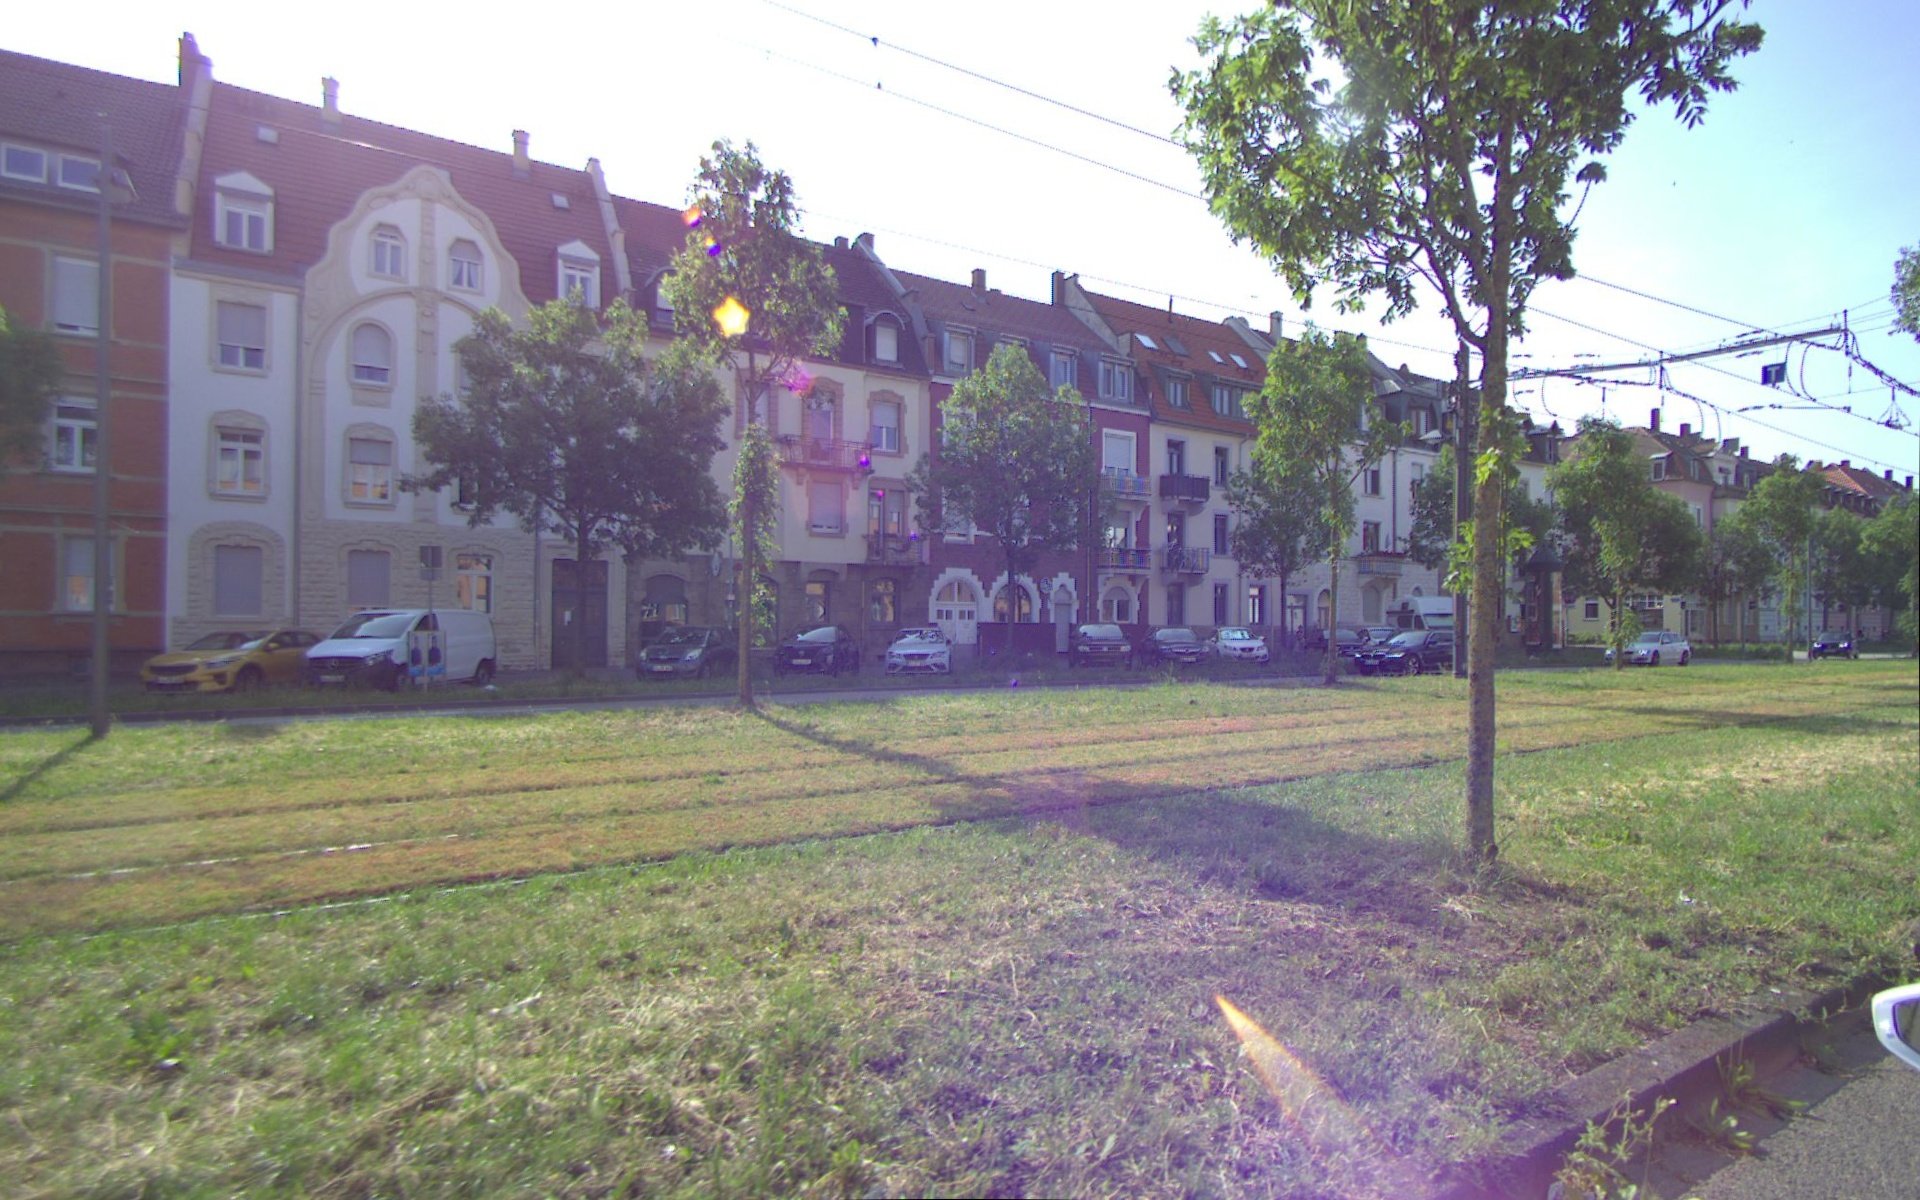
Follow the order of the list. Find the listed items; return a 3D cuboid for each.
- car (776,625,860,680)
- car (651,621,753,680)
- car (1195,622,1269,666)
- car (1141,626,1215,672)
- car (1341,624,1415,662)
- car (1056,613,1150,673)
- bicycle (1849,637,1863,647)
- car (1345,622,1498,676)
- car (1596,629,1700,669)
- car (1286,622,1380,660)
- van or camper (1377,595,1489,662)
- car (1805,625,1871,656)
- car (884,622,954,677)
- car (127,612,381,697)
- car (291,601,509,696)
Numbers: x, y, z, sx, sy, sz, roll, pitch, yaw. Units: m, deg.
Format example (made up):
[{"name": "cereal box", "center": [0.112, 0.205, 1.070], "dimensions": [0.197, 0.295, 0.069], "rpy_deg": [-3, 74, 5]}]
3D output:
[{"name": "car", "center": [-3.739, 1.365, 27.044], "dimensions": [1.629, 1.258, 3.687], "rpy_deg": [-1, 0, 2]}, {"name": "car", "center": [-6.343, 1.202, 25.071], "dimensions": [1.495, 1.258, 3.687], "rpy_deg": [0, 0, 2]}, {"name": "car", "center": [9.645, 1.519, 35.869], "dimensions": [1.629, 1.334, 4.015], "rpy_deg": [2, 0, 2]}, {"name": "car", "center": [7.097, 1.573, 33.014], "dimensions": [1.629, 1.258, 3.687], "rpy_deg": [2, 0, 1]}, {"name": "car", "center": [17.367, 1.774, 41.944], "dimensions": [1.629, 1.349, 3.687], "rpy_deg": [2, 0, 2]}, {"name": "car", "center": [4.571, 1.370, 32.795], "dimensions": [1.800, 1.765, 4.643], "rpy_deg": [2, -2, -8]}, {"name": "bicycle", "center": [75.951, 3.562, 85.137], "dimensions": [1.928, 0.868, 0.444], "rpy_deg": [2, 1, -34]}, {"name": "car", "center": [15.262, 1.593, 33.149], "dimensions": [5.319, 1.651, 1.983], "rpy_deg": [2, -2, -32]}, {"name": "car", "center": [28.868, 2.049, 42.112], "dimensions": [4.599, 1.479, 1.936], "rpy_deg": [3, 0, -33]}, {"name": "car", "center": [14.802, 1.599, 40.032], "dimensions": [1.635, 1.258, 3.675], "rpy_deg": [2, 0, -15]}, {"name": "van or camper", "center": [20.395, 1.133, 43.644], "dimensions": [2.155, 2.608, 5.927], "rpy_deg": [2, 0, 2]}, {"name": "car", "center": [50.297, 2.324, 57.514], "dimensions": [3.956, 1.677, 1.754], "rpy_deg": [2, 1, -32]}, {"name": "car", "center": [-1.093, 1.330, 28.092], "dimensions": [1.629, 1.258, 3.687], "rpy_deg": [2, 0, 2]}, {"name": "car", "center": [-14.393, 1.039, 20.888], "dimensions": [1.820, 1.366, 4.701], "rpy_deg": [2, 1, 2]}, {"name": "car", "center": [-12.018, 0.947, 22.026], "dimensions": [1.820, 1.749, 4.953], "rpy_deg": [2, 0, 2]}]
